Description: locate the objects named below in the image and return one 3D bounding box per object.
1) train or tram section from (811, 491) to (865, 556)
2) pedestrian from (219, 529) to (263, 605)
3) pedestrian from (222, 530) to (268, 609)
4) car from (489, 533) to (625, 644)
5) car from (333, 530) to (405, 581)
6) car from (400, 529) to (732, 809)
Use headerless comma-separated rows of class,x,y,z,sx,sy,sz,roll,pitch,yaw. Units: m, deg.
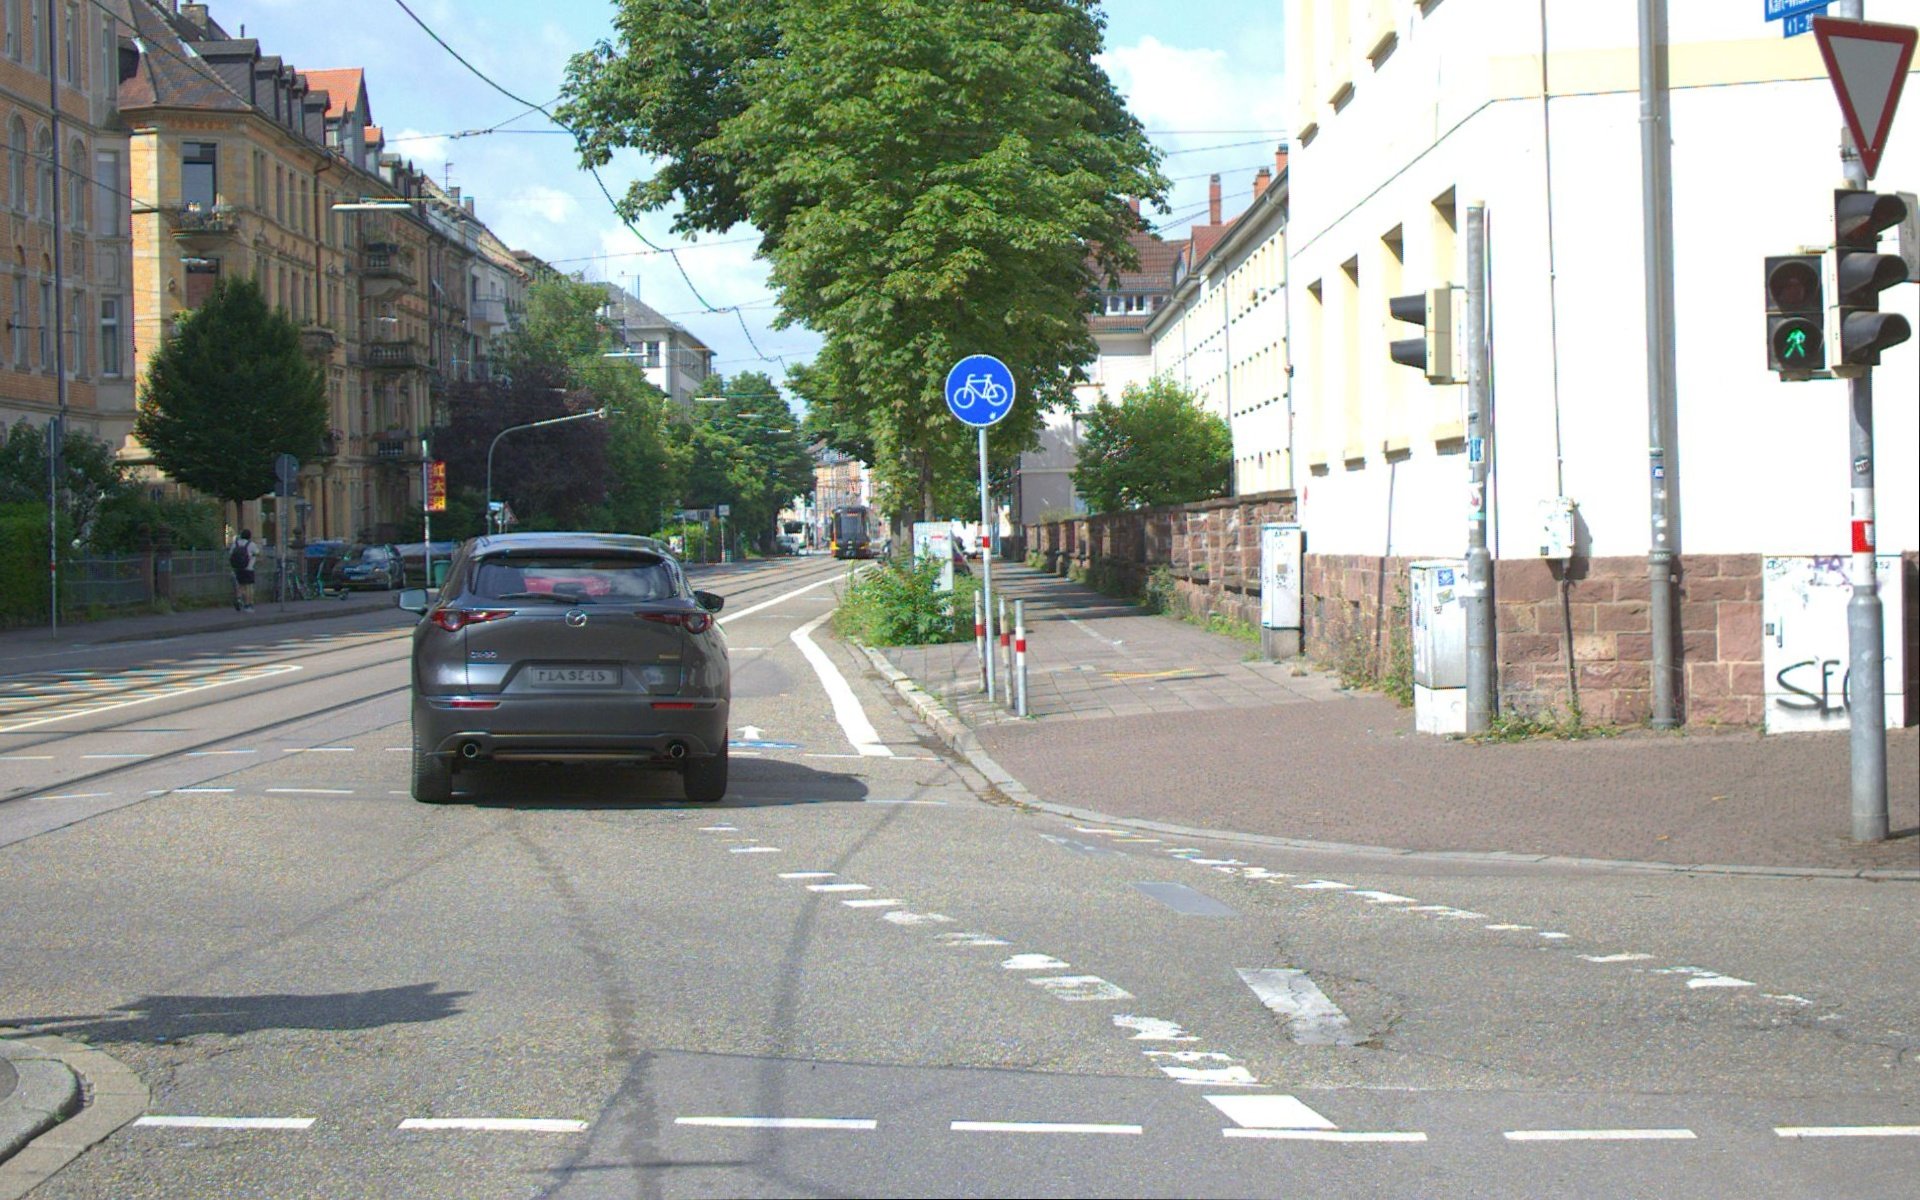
train or tram section,-7.901,-4.930,224.701,2.997,3.970,13.809,-1,0,0
pedestrian,-16.309,-0.754,78.016,0.788,1.682,0.732,-1,1,2
pedestrian,-15.425,-0.659,74.155,0.788,1.682,0.732,-1,1,2
car,-5.585,-0.189,47.976,1.775,1.459,3.843,0,1,-5
car,-19.249,-1.464,112.054,1.657,1.590,3.930,-1,1,-1
car,-2.435,0.344,20.758,1.782,1.509,4.001,1,1,-8
